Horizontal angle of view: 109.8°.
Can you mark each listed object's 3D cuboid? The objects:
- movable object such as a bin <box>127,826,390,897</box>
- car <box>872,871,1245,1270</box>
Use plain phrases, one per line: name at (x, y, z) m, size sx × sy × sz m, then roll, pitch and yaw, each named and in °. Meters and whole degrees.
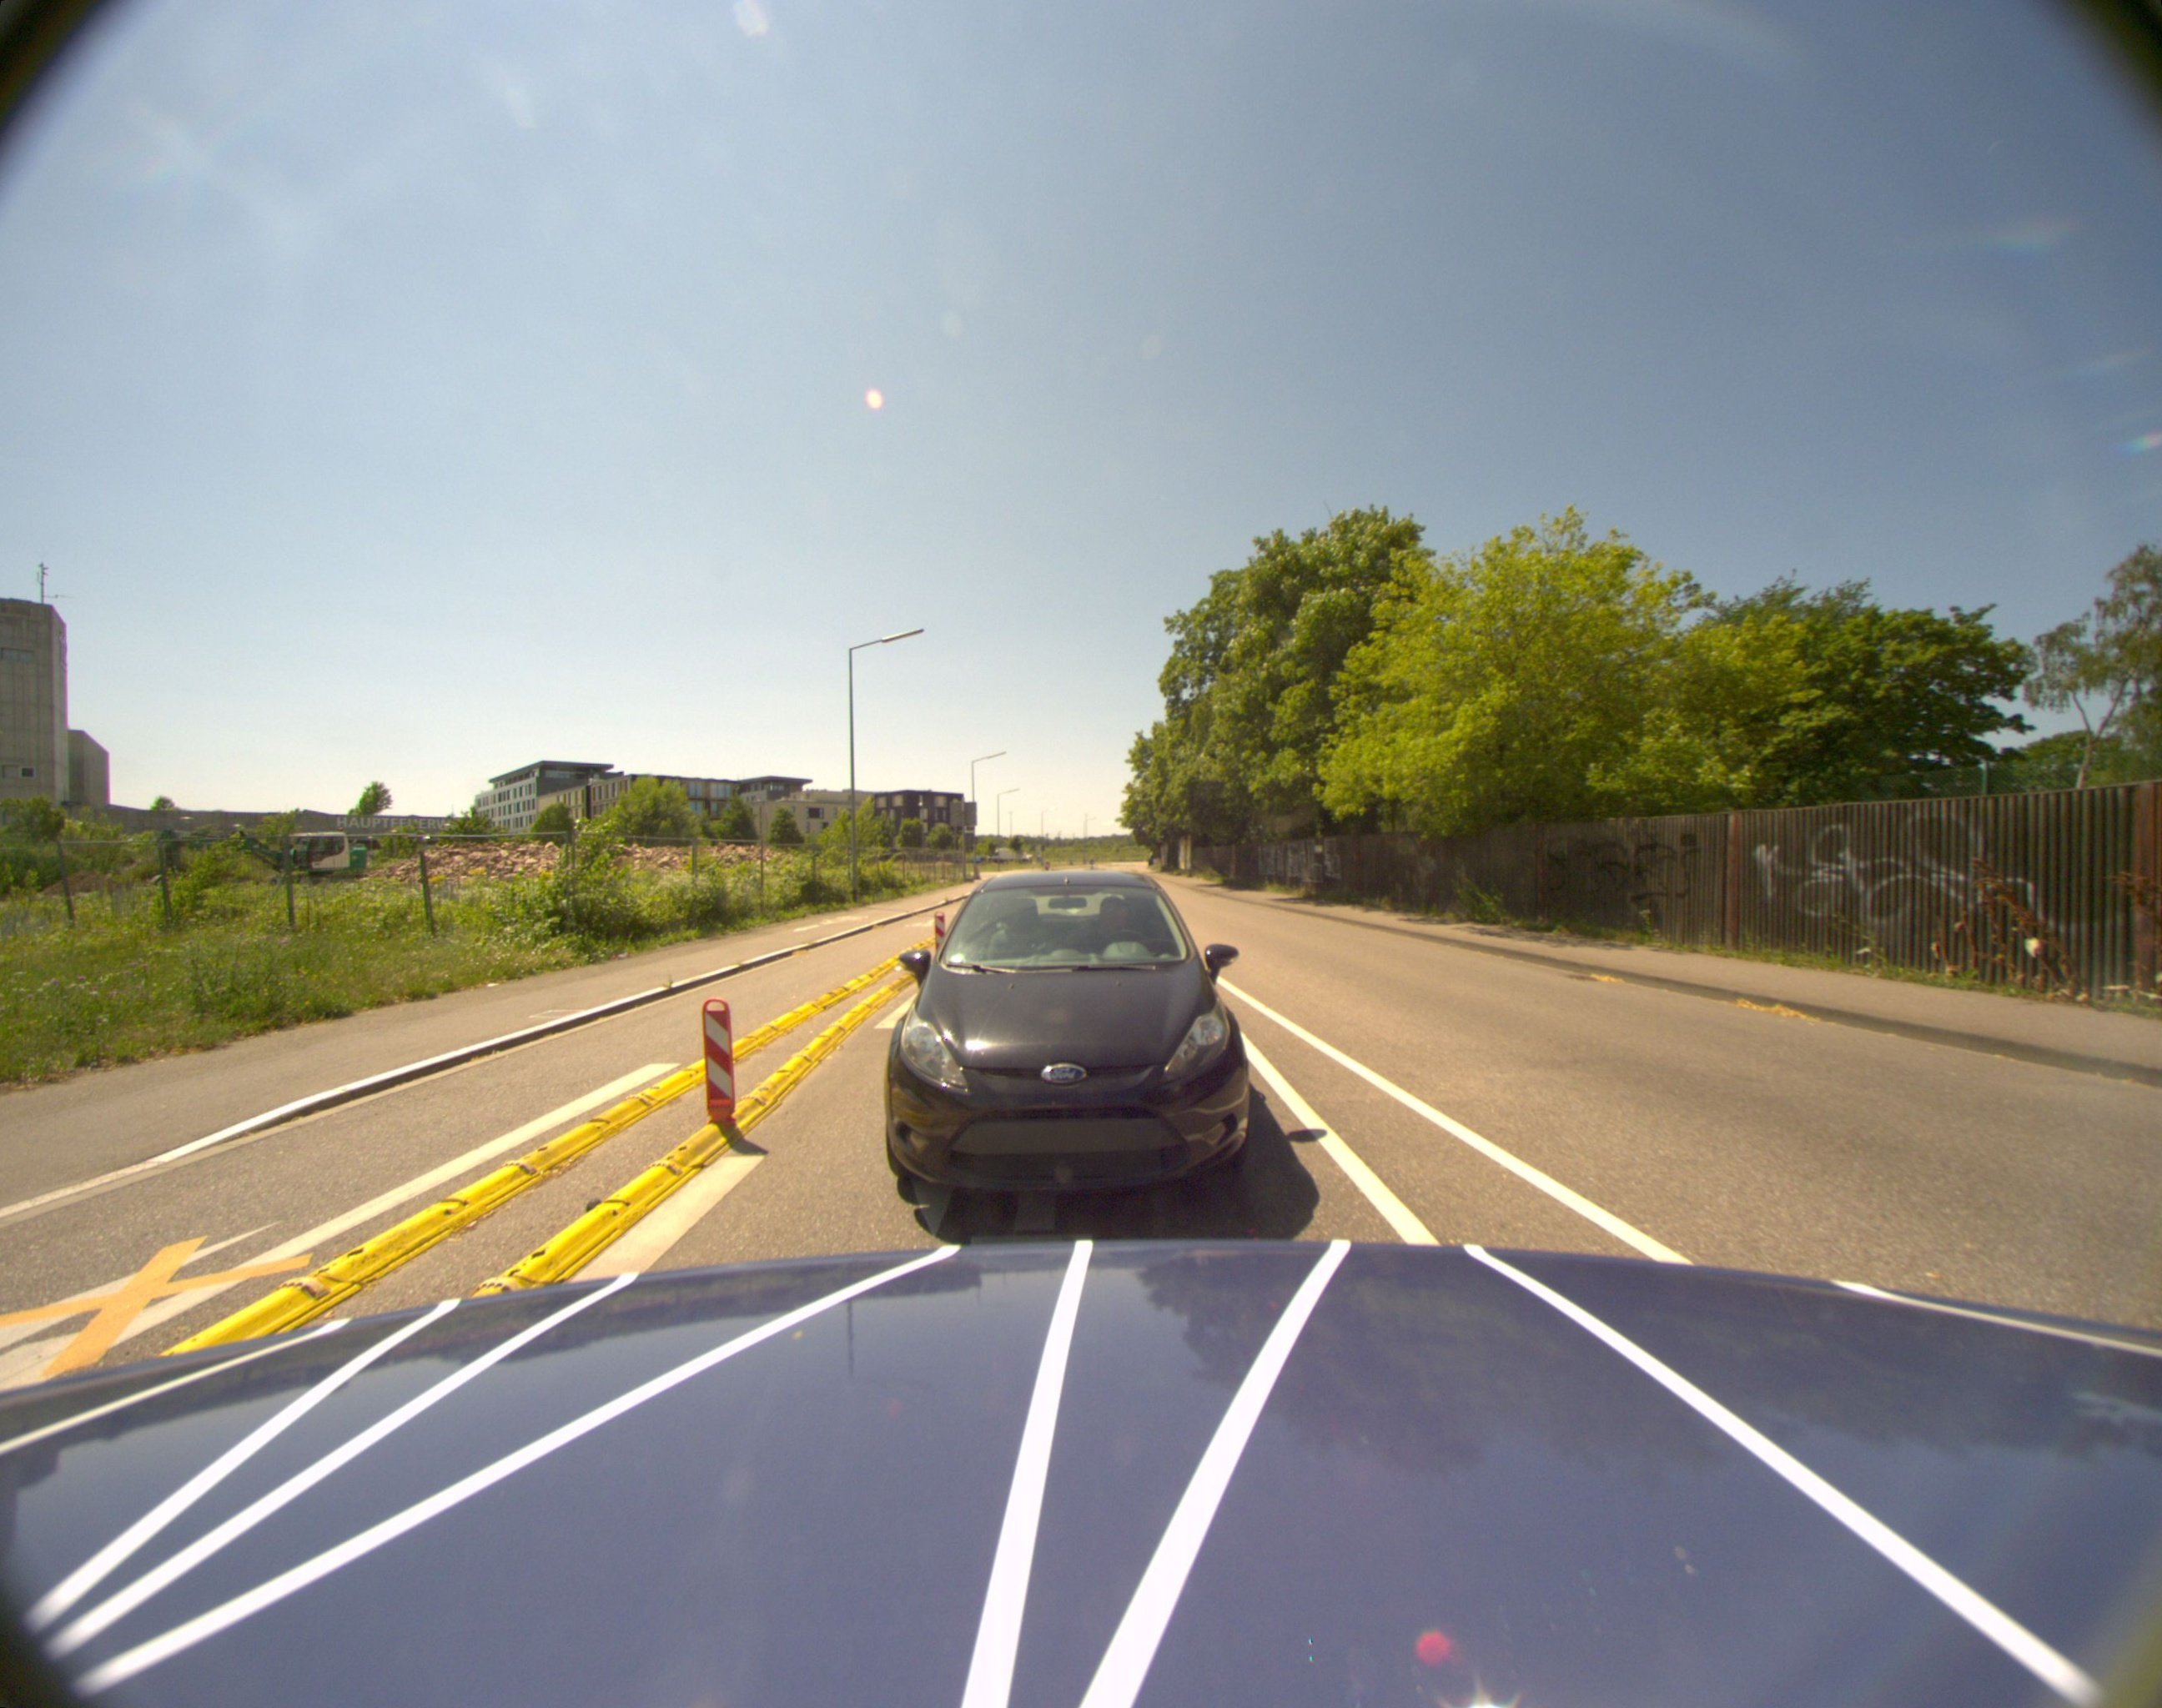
movable object such as a bin at (-38.342, 0.260, 35.947) m, size 3.231 × 2.899 × 7.702 m, roll -2°, pitch 1°, yaw 15°
car at (-0.066, 0.973, 5.228) m, size 1.528 × 1.510 × 3.999 m, roll -2°, pitch 1°, yaw 1°
